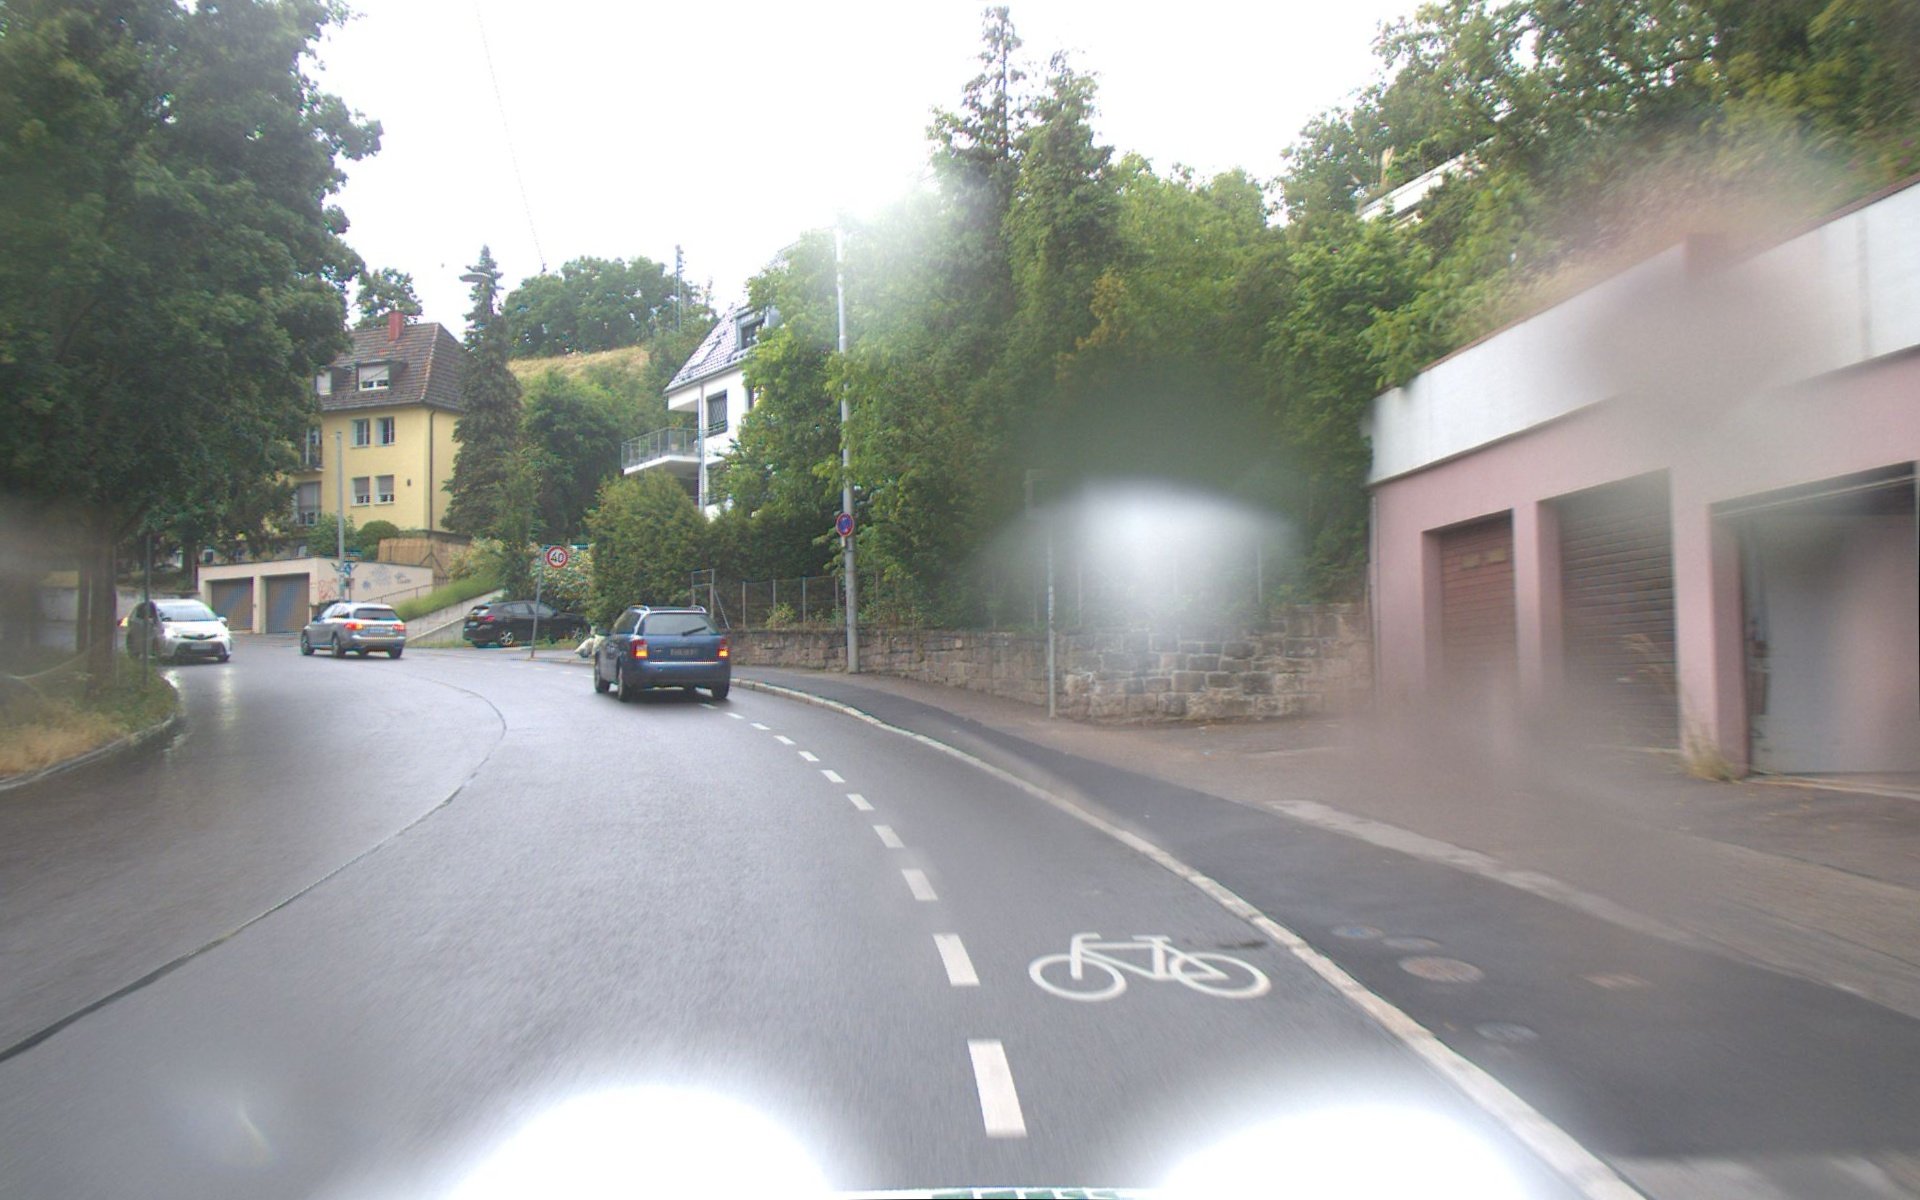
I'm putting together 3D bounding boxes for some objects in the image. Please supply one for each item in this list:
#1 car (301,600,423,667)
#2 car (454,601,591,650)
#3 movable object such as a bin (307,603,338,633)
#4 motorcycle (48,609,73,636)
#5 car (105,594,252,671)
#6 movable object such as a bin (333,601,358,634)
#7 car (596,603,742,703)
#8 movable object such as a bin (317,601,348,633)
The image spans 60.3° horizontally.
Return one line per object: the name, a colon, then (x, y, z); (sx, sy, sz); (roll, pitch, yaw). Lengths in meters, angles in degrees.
car: (-16.604, 0.901, 45.800); (1.936, 1.588, 4.206); (3, 0, -38)
car: (-14.311, 0.804, 54.284); (1.708, 1.534, 4.160); (0, 0, 40)
movable object such as a bin: (-25.057, 0.689, 65.027); (0.781, 1.162, 0.861); (0, 0, 25)
motorcycle: (-40.087, 1.009, 73.694); (1.414, 1.151, 0.547); (1, 0, 42)
car: (-20.502, 0.831, 43.294); (4.615, 1.819, 1.977); (-1, 2, 45)
movable object such as a bin: (-23.820, 0.666, 64.144); (0.567, 1.245, 0.704); (0, 0, 25)
car: (-4.848, 0.801, 27.110); (1.825, 1.438, 4.340); (0, 0, -17)
movable object such as a bin: (-24.444, 0.666, 64.457); (0.769, 1.206, 0.861); (0, 0, 25)
